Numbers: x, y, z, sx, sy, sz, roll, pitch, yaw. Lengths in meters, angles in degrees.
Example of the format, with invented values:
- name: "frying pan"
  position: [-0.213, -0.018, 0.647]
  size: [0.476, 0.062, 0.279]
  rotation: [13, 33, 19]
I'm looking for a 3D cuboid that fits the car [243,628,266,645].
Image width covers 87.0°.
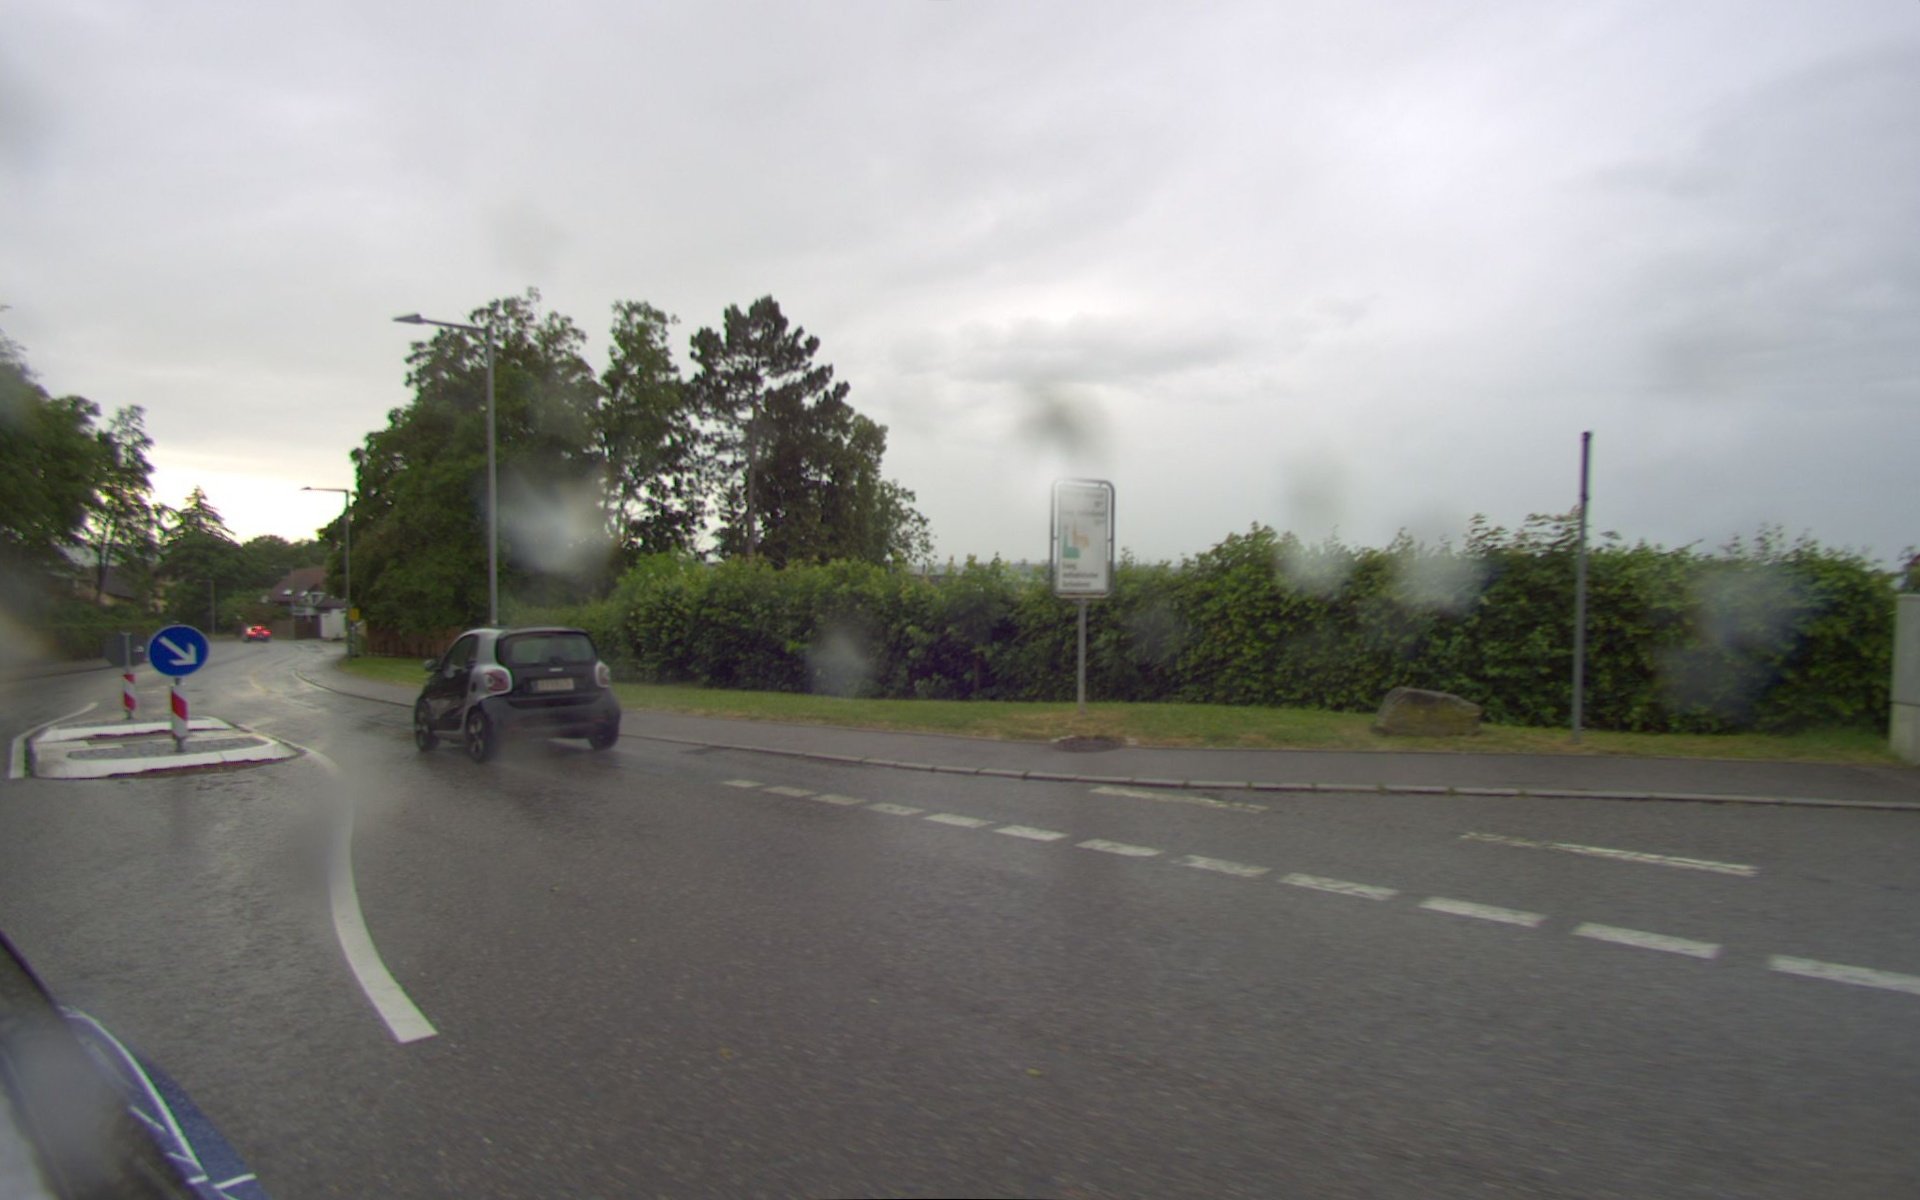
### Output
- name: "car"
  position: [-72.554, 3.759, 104.036]
  size: [1.892, 1.660, 4.558]
  rotation: [1, -1, -35]

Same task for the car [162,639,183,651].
- name: "car"
  position: [-106.562, 6.093, 136.924]
  size: [1.812, 1.523, 4.173]
  rotation: [0, -1, -43]

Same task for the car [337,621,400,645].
- name: "car"
  position: [-49.065, 2.719, 83.925]
  size: [4.441, 1.874, 2.095]
  rotation: [0, -1, -32]

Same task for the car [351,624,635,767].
- name: "car"
  position: [-6.212, 1.078, 13.186]
  size: [4.628, 1.532, 1.811]
  rotation: [-1, -2, 44]
